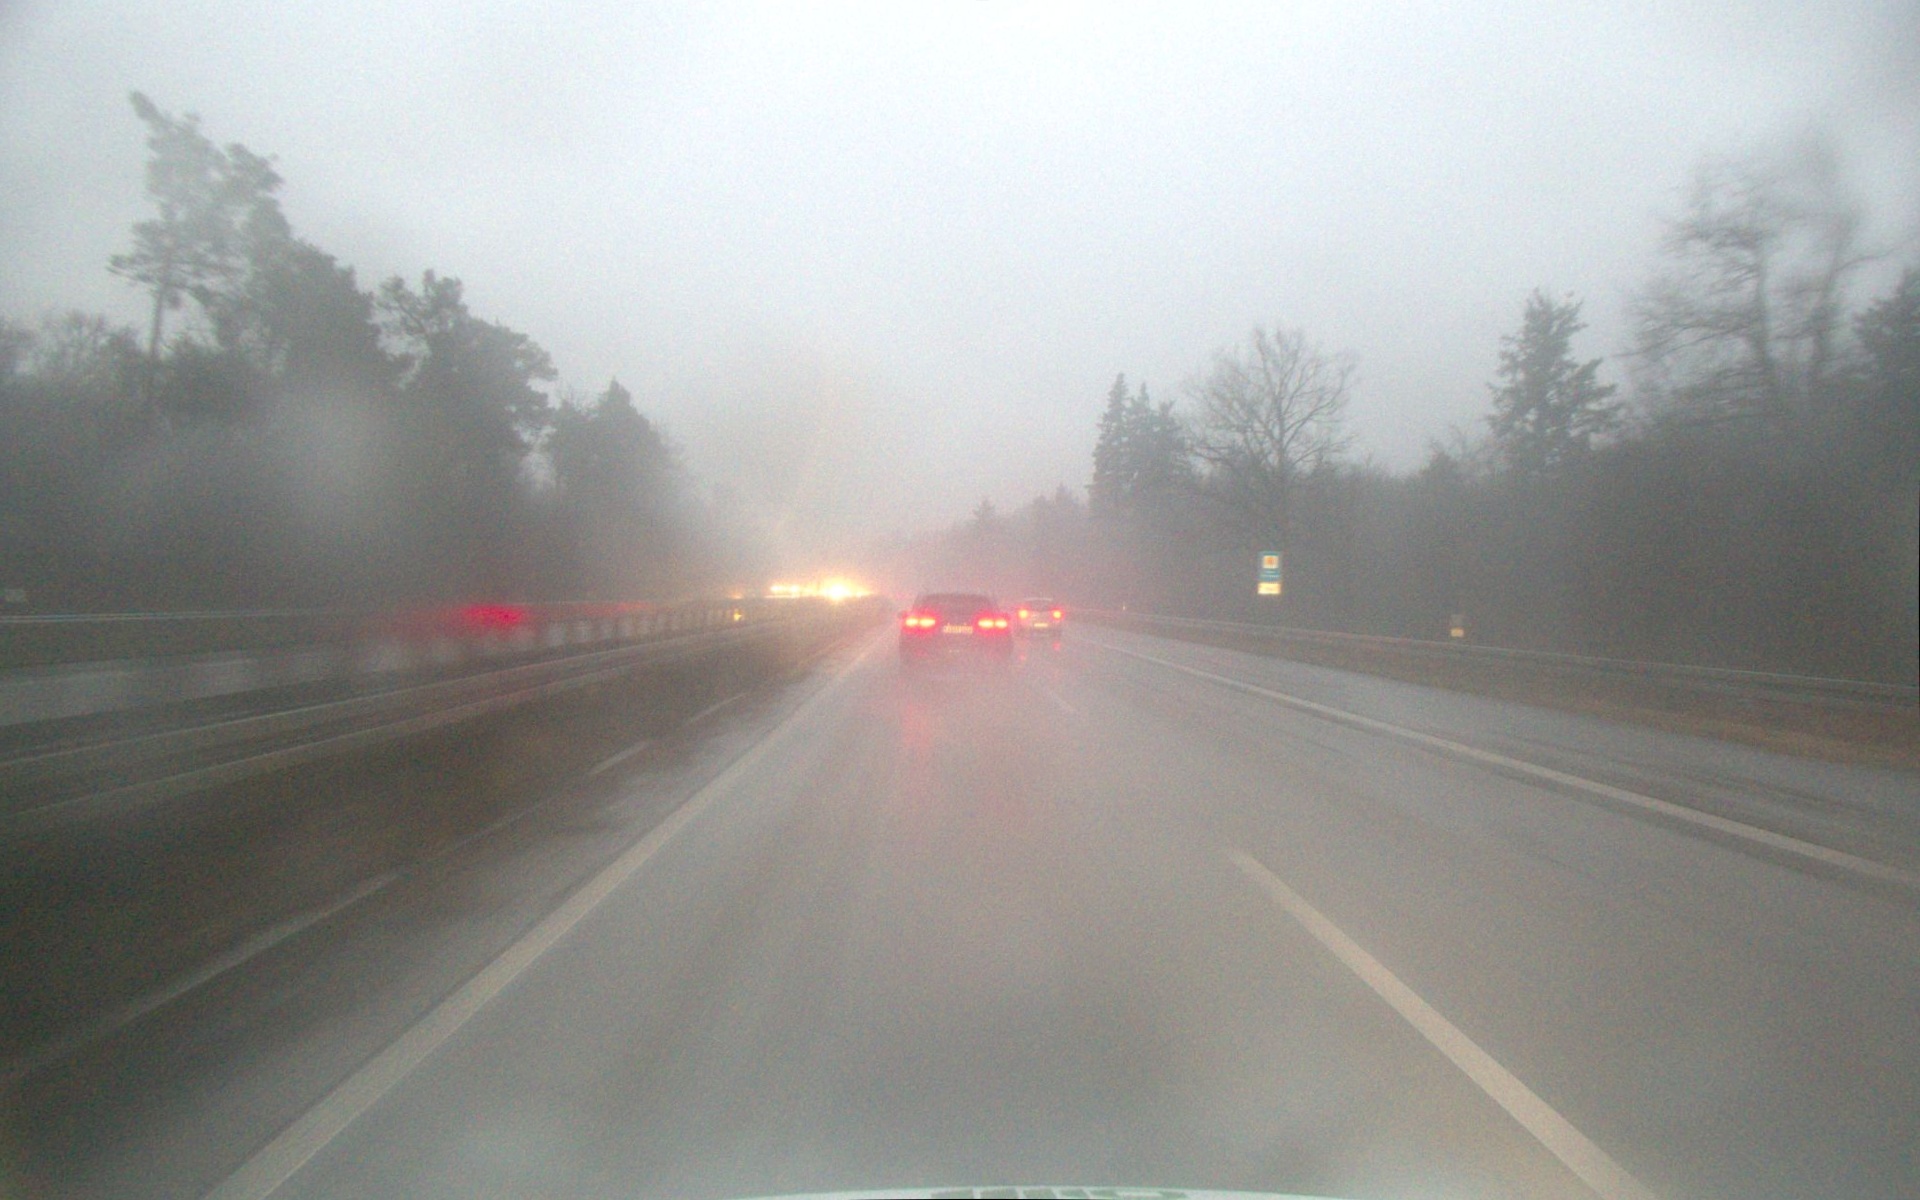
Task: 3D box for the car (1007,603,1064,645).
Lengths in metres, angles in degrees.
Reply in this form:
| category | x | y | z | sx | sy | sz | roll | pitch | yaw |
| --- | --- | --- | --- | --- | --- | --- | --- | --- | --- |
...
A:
| category | x | y | z | sx | sy | sz | roll | pitch | yaw |
| --- | --- | --- | --- | --- | --- | --- | --- | --- | --- |
| car | 2.736 | 0.850 | 60.851 | 1.744 | 1.462 | 3.535 | 1 | 0 | -3 |

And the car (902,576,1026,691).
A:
| category | x | y | z | sx | sy | sz | roll | pitch | yaw |
| --- | --- | --- | --- | --- | --- | --- | --- | --- | --- |
| car | 0.025 | 0.527 | 28.284 | 1.946 | 1.798 | 4.172 | 1 | 0 | -1 |
